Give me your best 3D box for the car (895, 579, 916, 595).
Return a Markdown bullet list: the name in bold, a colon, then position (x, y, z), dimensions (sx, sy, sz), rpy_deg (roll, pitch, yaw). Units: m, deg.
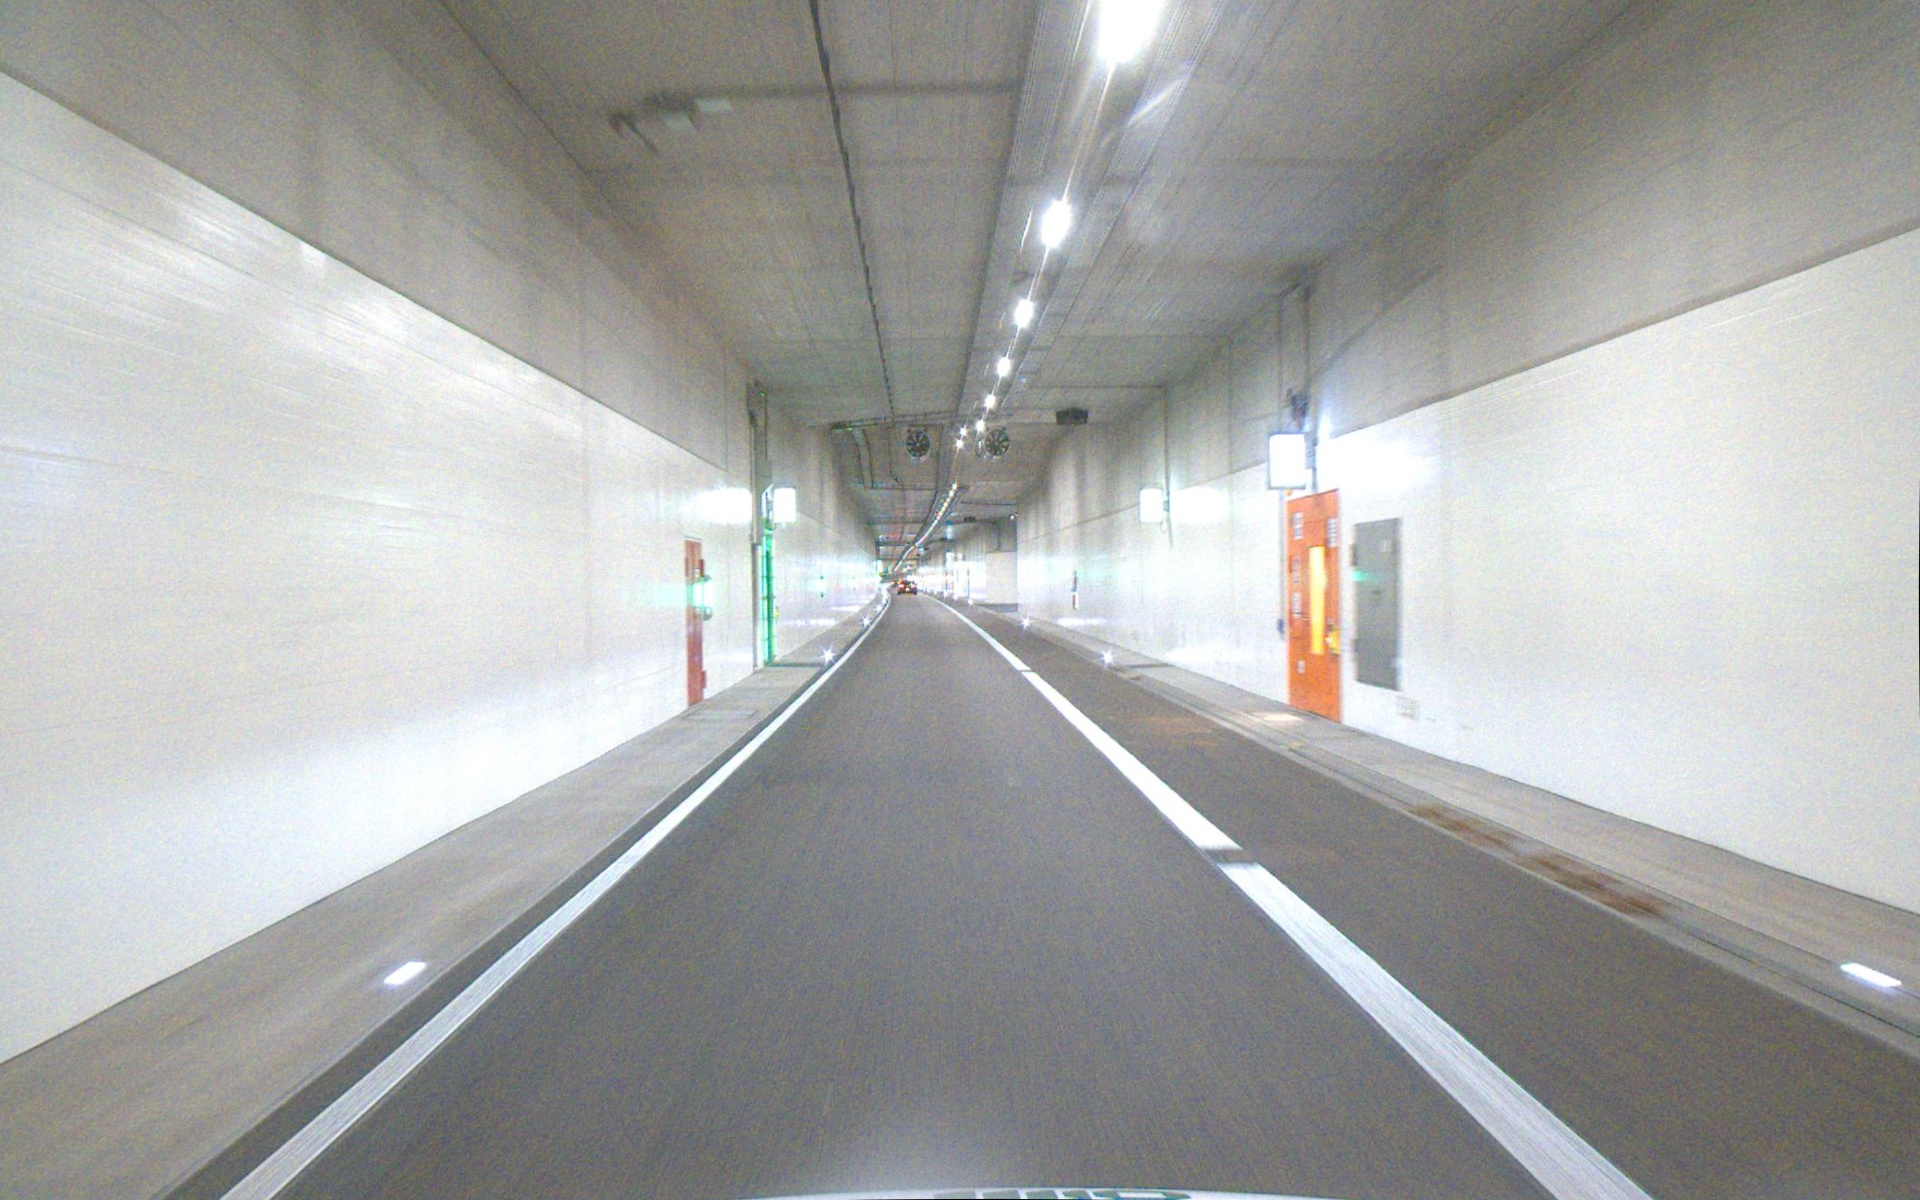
- **car**: position (-5.255, -1.264, 158.874), dimensions (1.954, 1.445, 3.998), rpy_deg (0, 1, -3)
